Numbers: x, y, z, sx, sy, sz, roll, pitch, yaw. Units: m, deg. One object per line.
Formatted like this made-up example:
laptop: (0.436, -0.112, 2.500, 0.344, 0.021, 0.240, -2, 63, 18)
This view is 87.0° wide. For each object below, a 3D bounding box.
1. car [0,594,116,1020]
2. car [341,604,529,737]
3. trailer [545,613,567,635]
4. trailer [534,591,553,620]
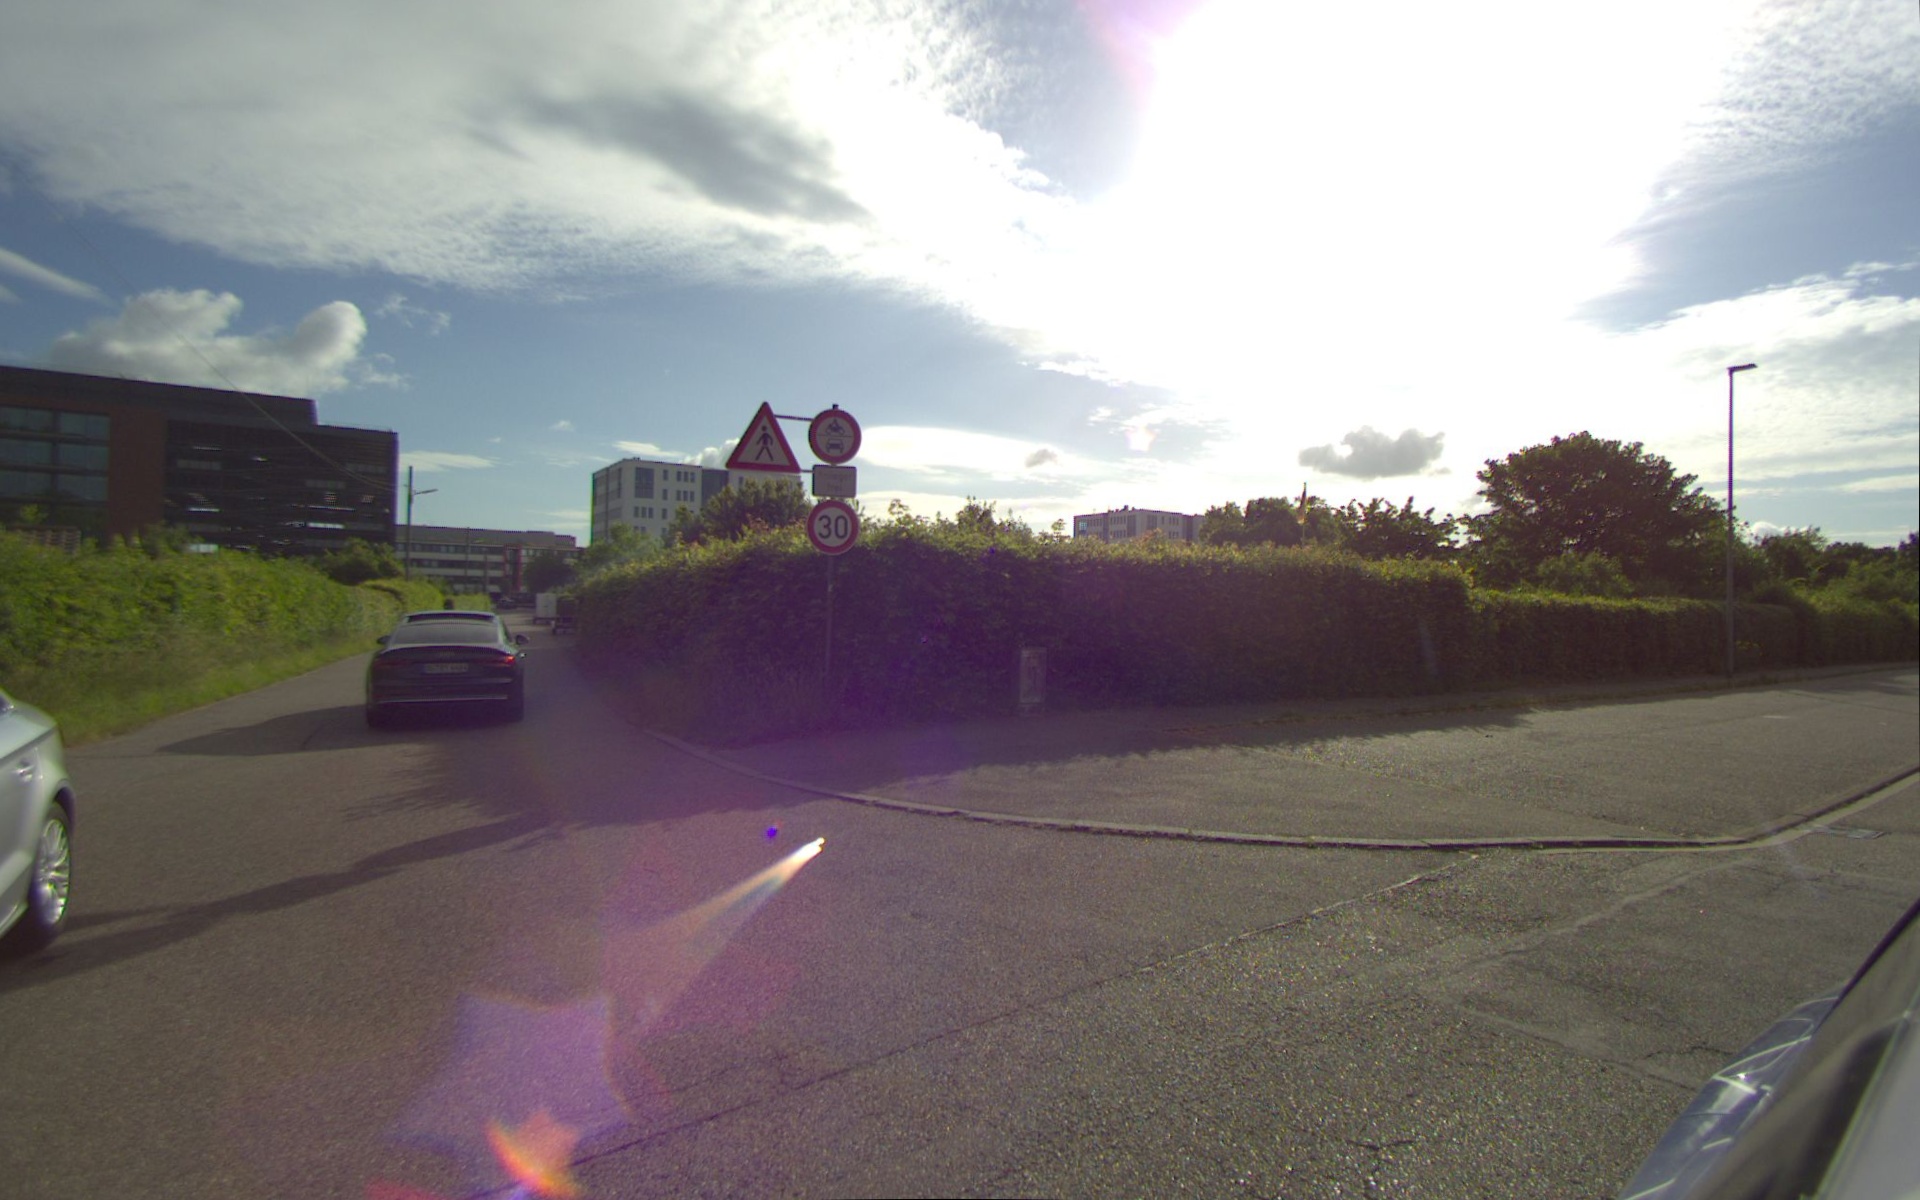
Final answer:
car: (-3.918, 0.717, 2.674, 1.894, 1.461, 4.380, 1, 0, -31)
car: (-7.014, 0.827, 13.892, 1.931, 1.453, 4.344, 1, 0, -24)
trailer: (-20.579, 1.207, 51.615, 1.007, 1.052, 2.135, 2, -1, -21)
trailer: (-33.814, 0.473, 82.173, 1.308, 2.263, 4.007, 2, -1, -22)
